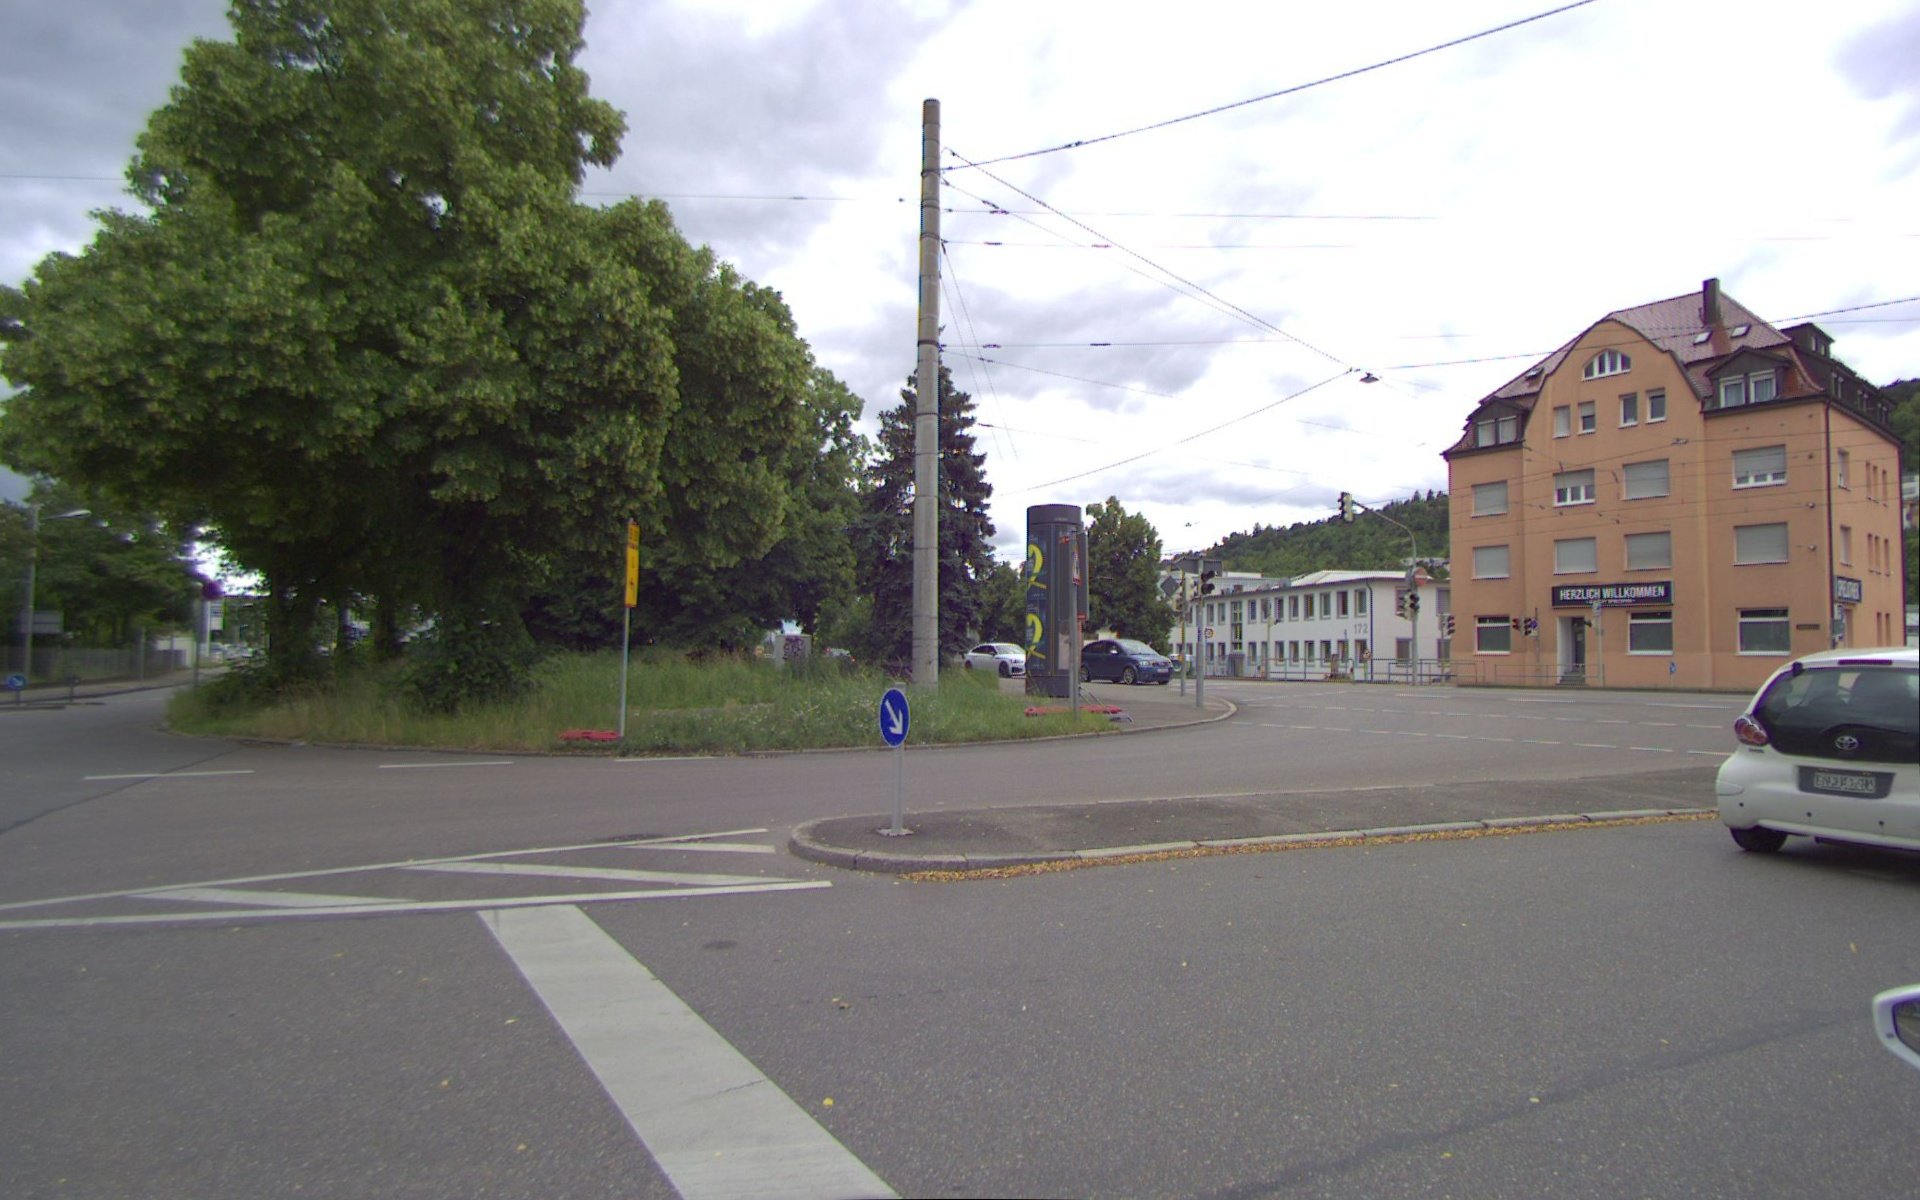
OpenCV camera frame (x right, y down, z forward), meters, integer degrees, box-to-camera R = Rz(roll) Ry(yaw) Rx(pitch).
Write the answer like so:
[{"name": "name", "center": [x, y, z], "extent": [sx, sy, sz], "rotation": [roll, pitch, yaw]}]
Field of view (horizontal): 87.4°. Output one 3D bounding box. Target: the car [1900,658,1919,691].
[{"name": "car", "center": [58.481, 4.533, 59.793], "extent": [4.445, 1.863, 1.990], "rotation": [3, 0, -22]}]

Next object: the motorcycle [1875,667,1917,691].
[{"name": "motorcycle", "center": [45.050, 3.795, 48.376], "extent": [0.518, 0.997, 1.710], "rotation": [3, 0, 7]}]

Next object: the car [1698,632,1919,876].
[{"name": "car", "center": [7.032, 0.975, 7.020], "extent": [3.328, 1.438, 1.589], "rotation": [1, -4, -25]}]

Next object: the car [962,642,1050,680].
[{"name": "car", "center": [1.806, 2.442, 40.625], "extent": [1.727, 1.445, 4.136], "rotation": [1, -3, -28]}]

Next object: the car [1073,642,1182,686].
[{"name": "car", "center": [5.616, 2.141, 34.081], "extent": [1.729, 1.410, 3.674], "rotation": [1, -3, -30]}]
